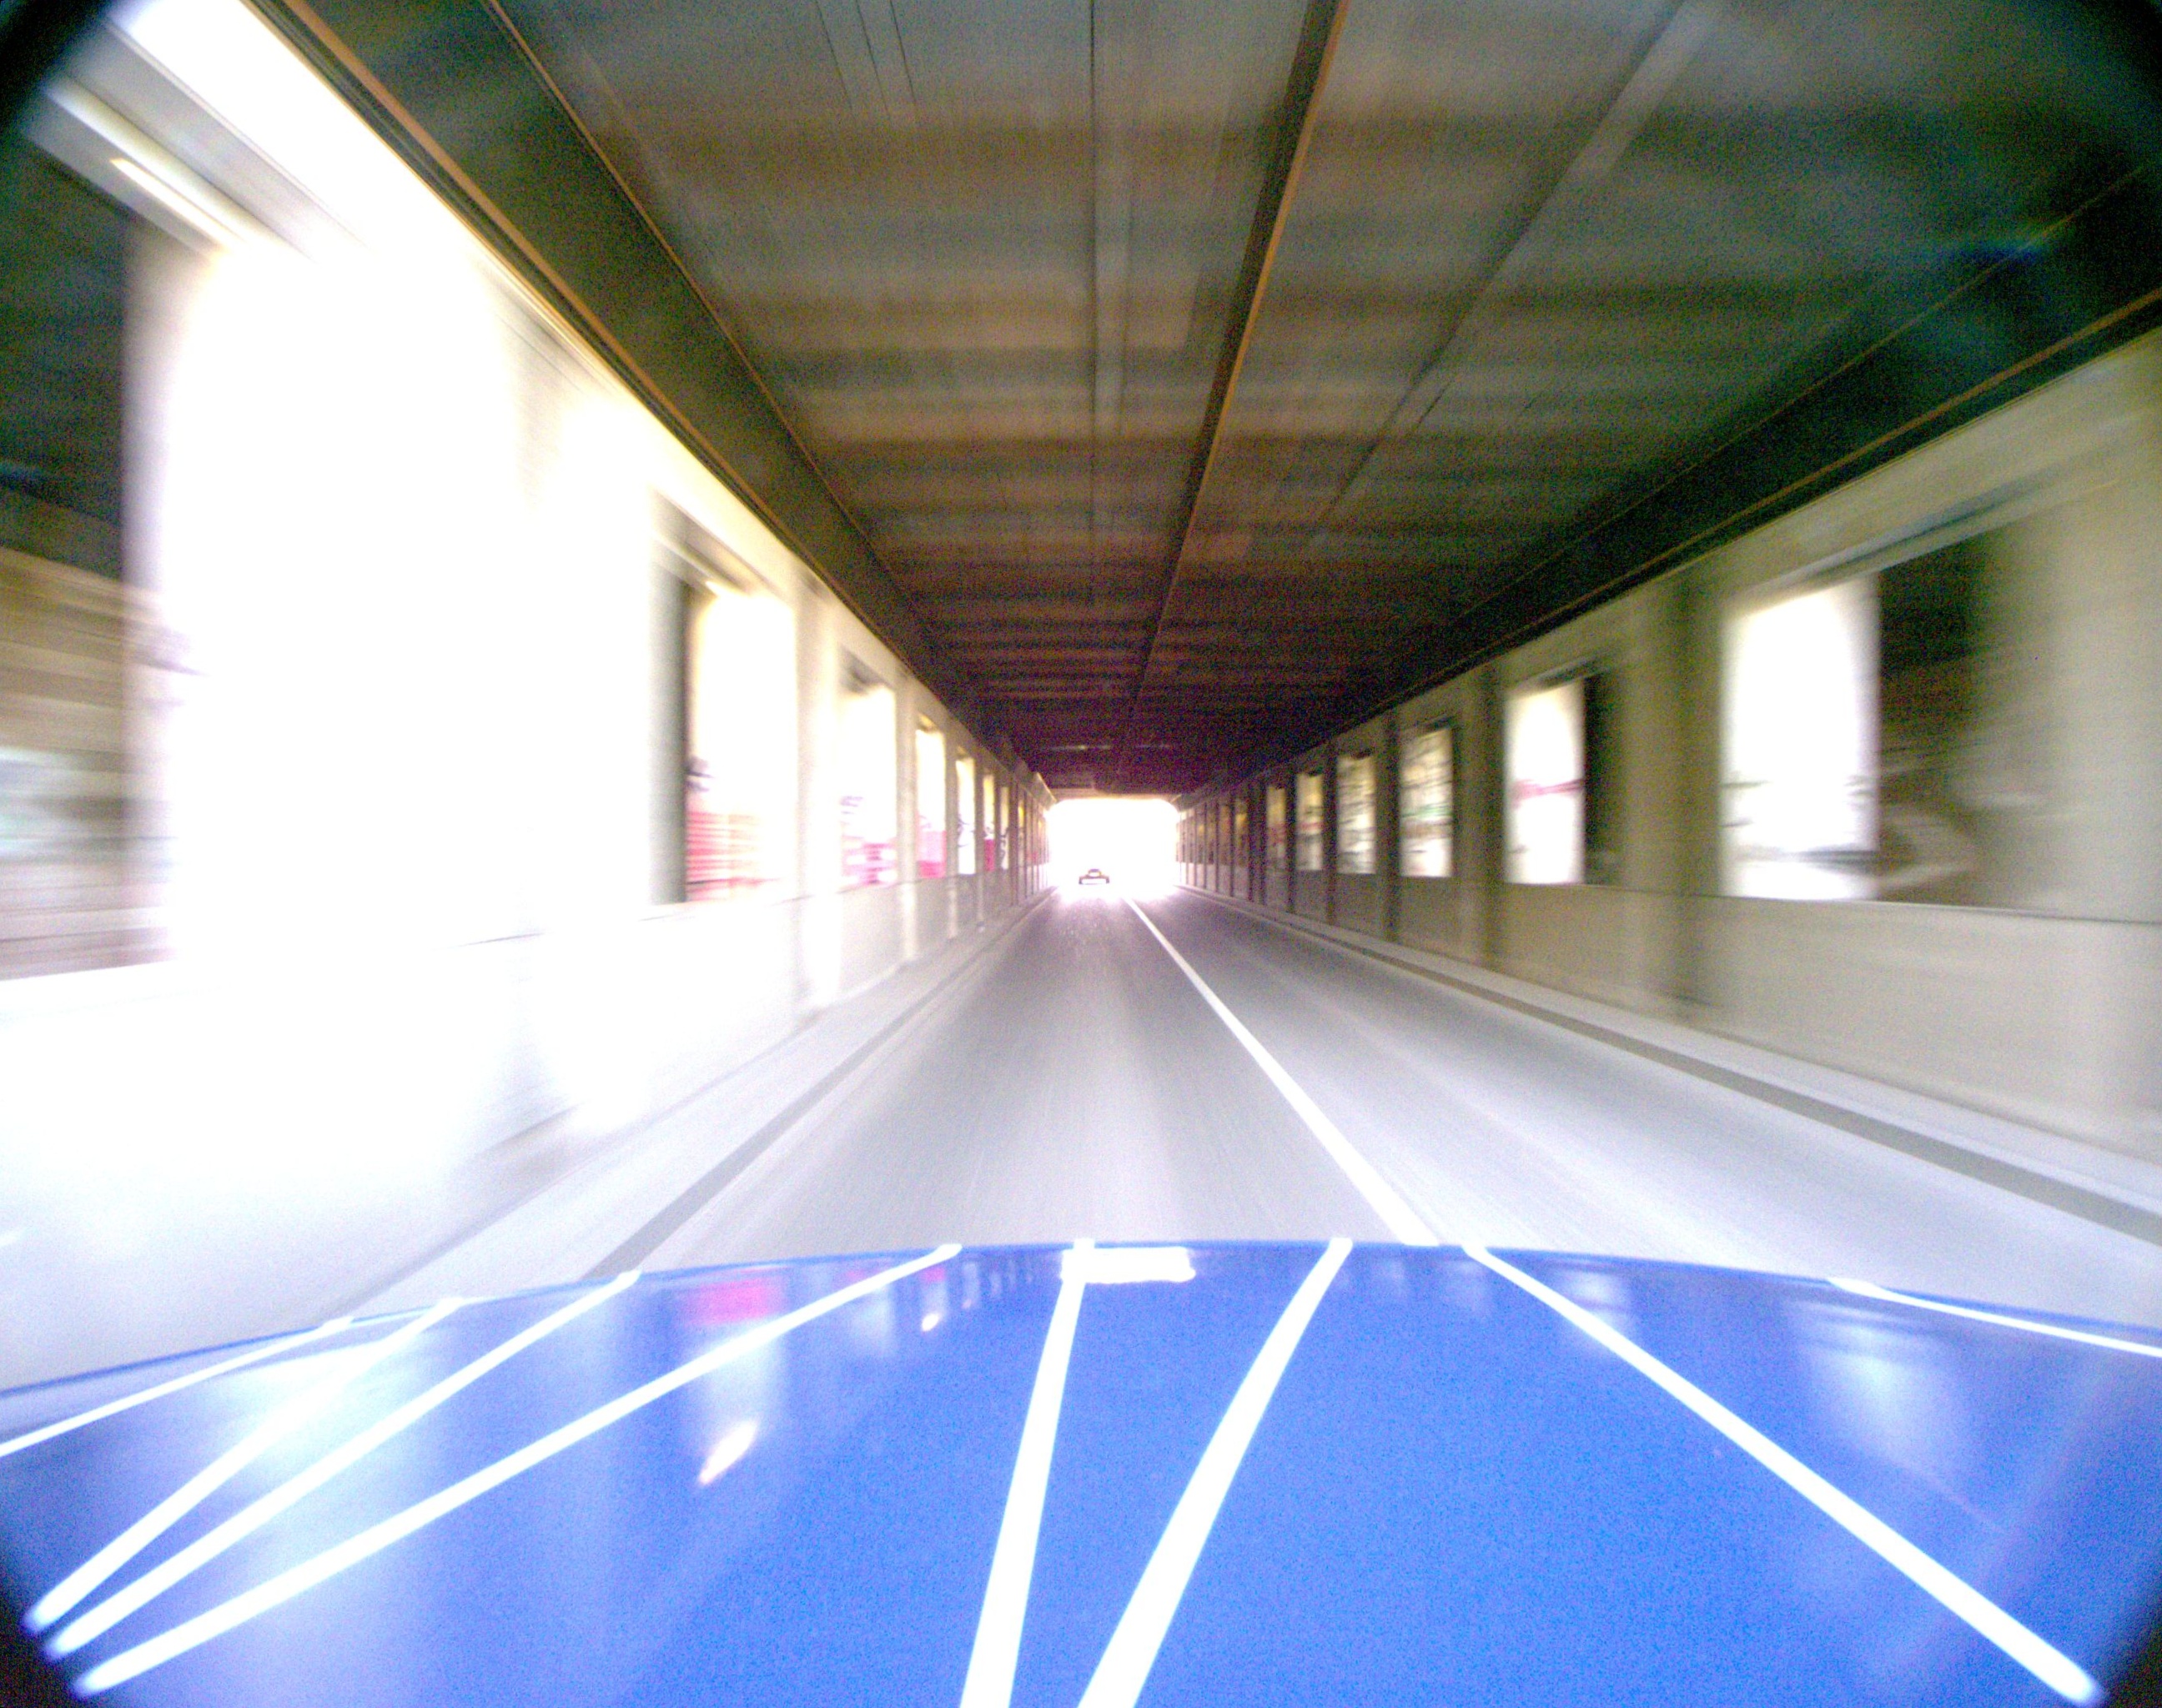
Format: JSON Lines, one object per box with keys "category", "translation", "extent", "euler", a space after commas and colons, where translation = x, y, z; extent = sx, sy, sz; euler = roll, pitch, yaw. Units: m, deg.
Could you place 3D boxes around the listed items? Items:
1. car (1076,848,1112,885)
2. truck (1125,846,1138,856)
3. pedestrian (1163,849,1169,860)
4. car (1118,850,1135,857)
{"category": "car", "translation": [0.757, 0.680, 44.392], "extent": [1.941, 1.922, 4.523], "euler": [-2, 1, 1]}
{"category": "truck", "translation": [16.944, -1.133, 254.909], "extent": [2.339, 2.955, 8.041], "euler": [-2, 1, 19]}
{"category": "pedestrian", "translation": [12.215, 0.091, 109.097], "extent": [0.834, 1.620, 1.181], "euler": [-2, 0, 3]}
{"category": "car", "translation": [11.940, -0.025, 200.646], "extent": [4.140, 1.631, 1.777], "euler": [-2, 2, 22]}
